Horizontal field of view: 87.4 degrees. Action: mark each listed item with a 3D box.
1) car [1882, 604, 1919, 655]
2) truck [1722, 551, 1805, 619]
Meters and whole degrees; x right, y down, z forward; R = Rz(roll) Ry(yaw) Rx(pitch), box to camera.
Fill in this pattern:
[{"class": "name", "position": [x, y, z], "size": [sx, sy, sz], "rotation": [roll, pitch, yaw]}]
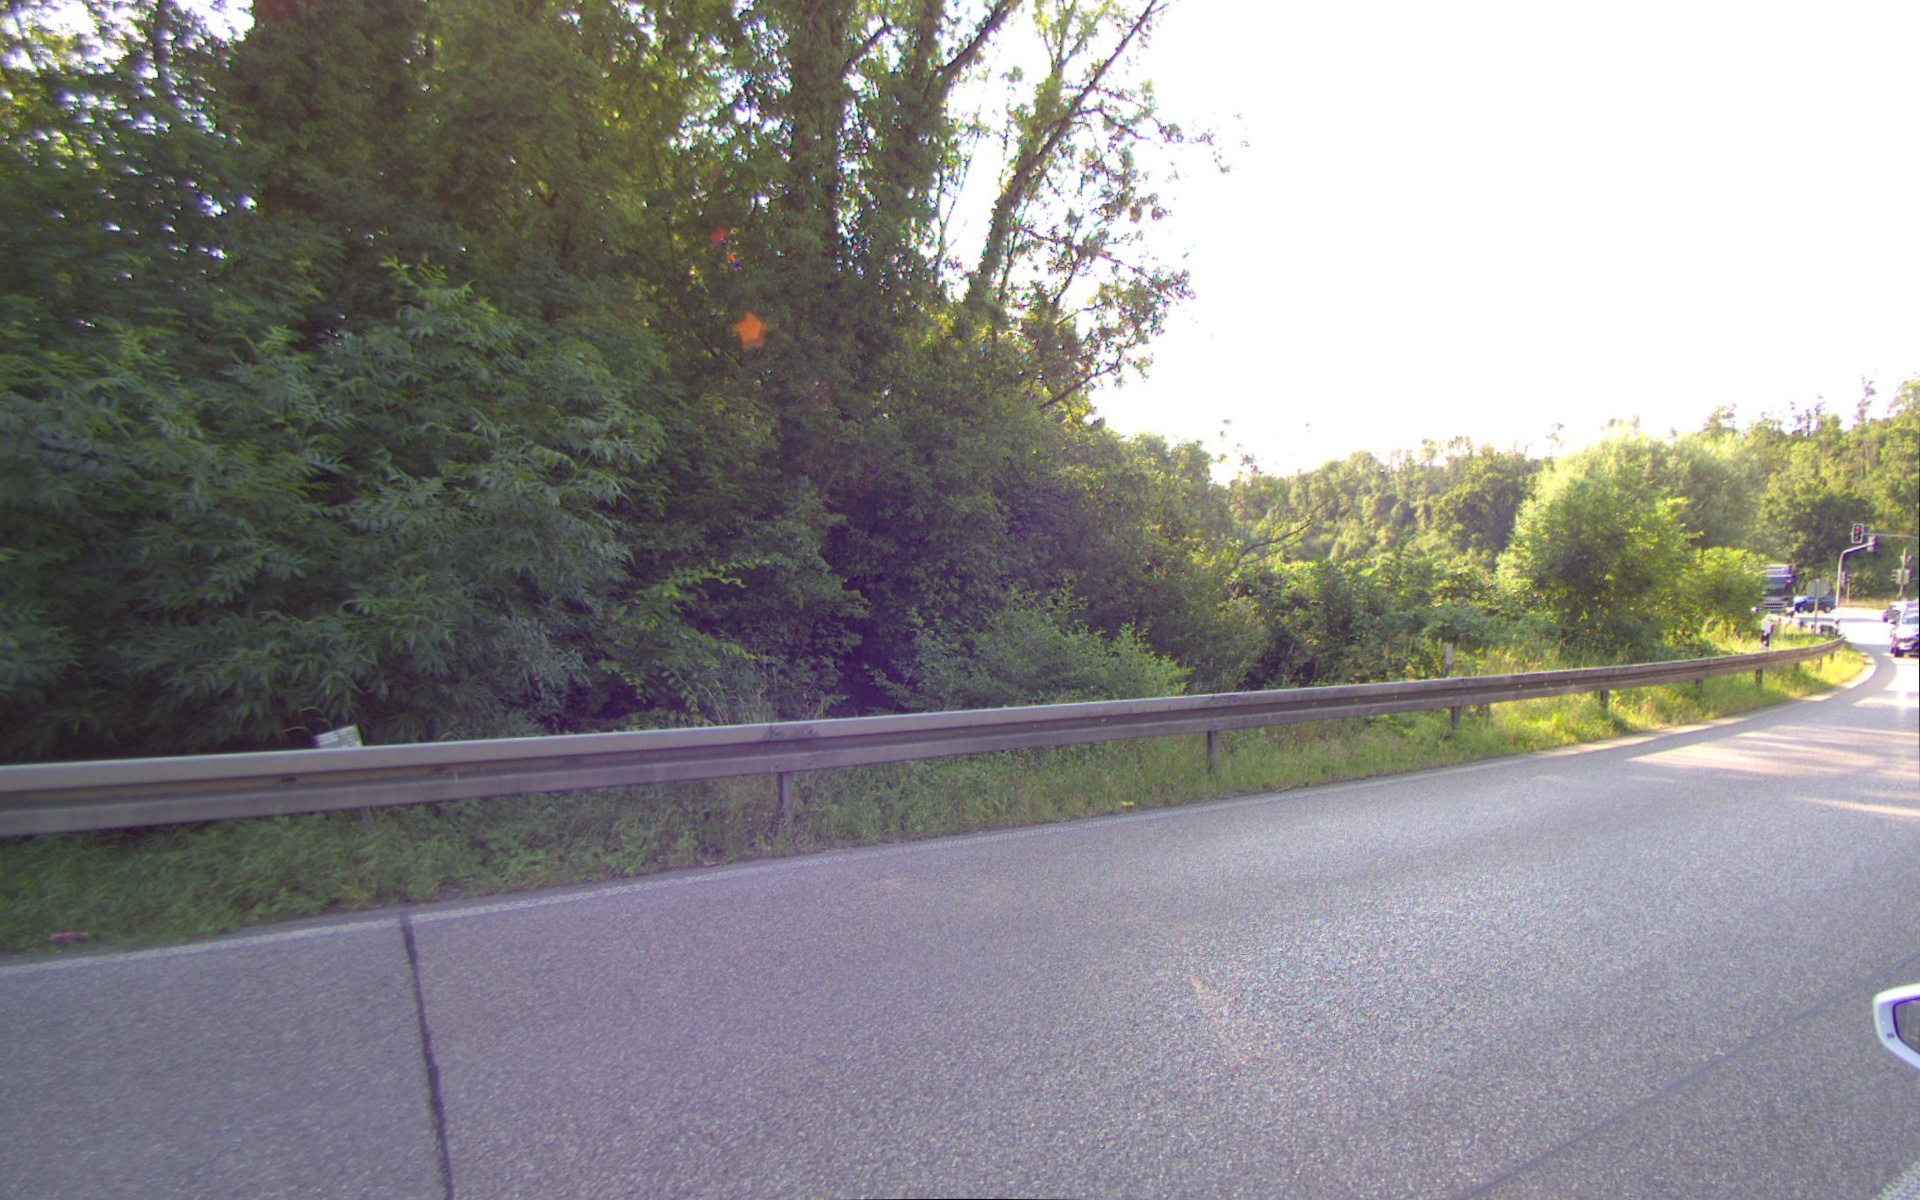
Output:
[{"class": "car", "position": [31.873, 0.940, 33.163], "size": [1.845, 1.586, 3.982], "rotation": [0, 0, 39]}, {"class": "truck", "position": [58.986, -1.003, 73.987], "size": [2.967, 4.646, 10.223], "rotation": [2, 1, 29]}]
